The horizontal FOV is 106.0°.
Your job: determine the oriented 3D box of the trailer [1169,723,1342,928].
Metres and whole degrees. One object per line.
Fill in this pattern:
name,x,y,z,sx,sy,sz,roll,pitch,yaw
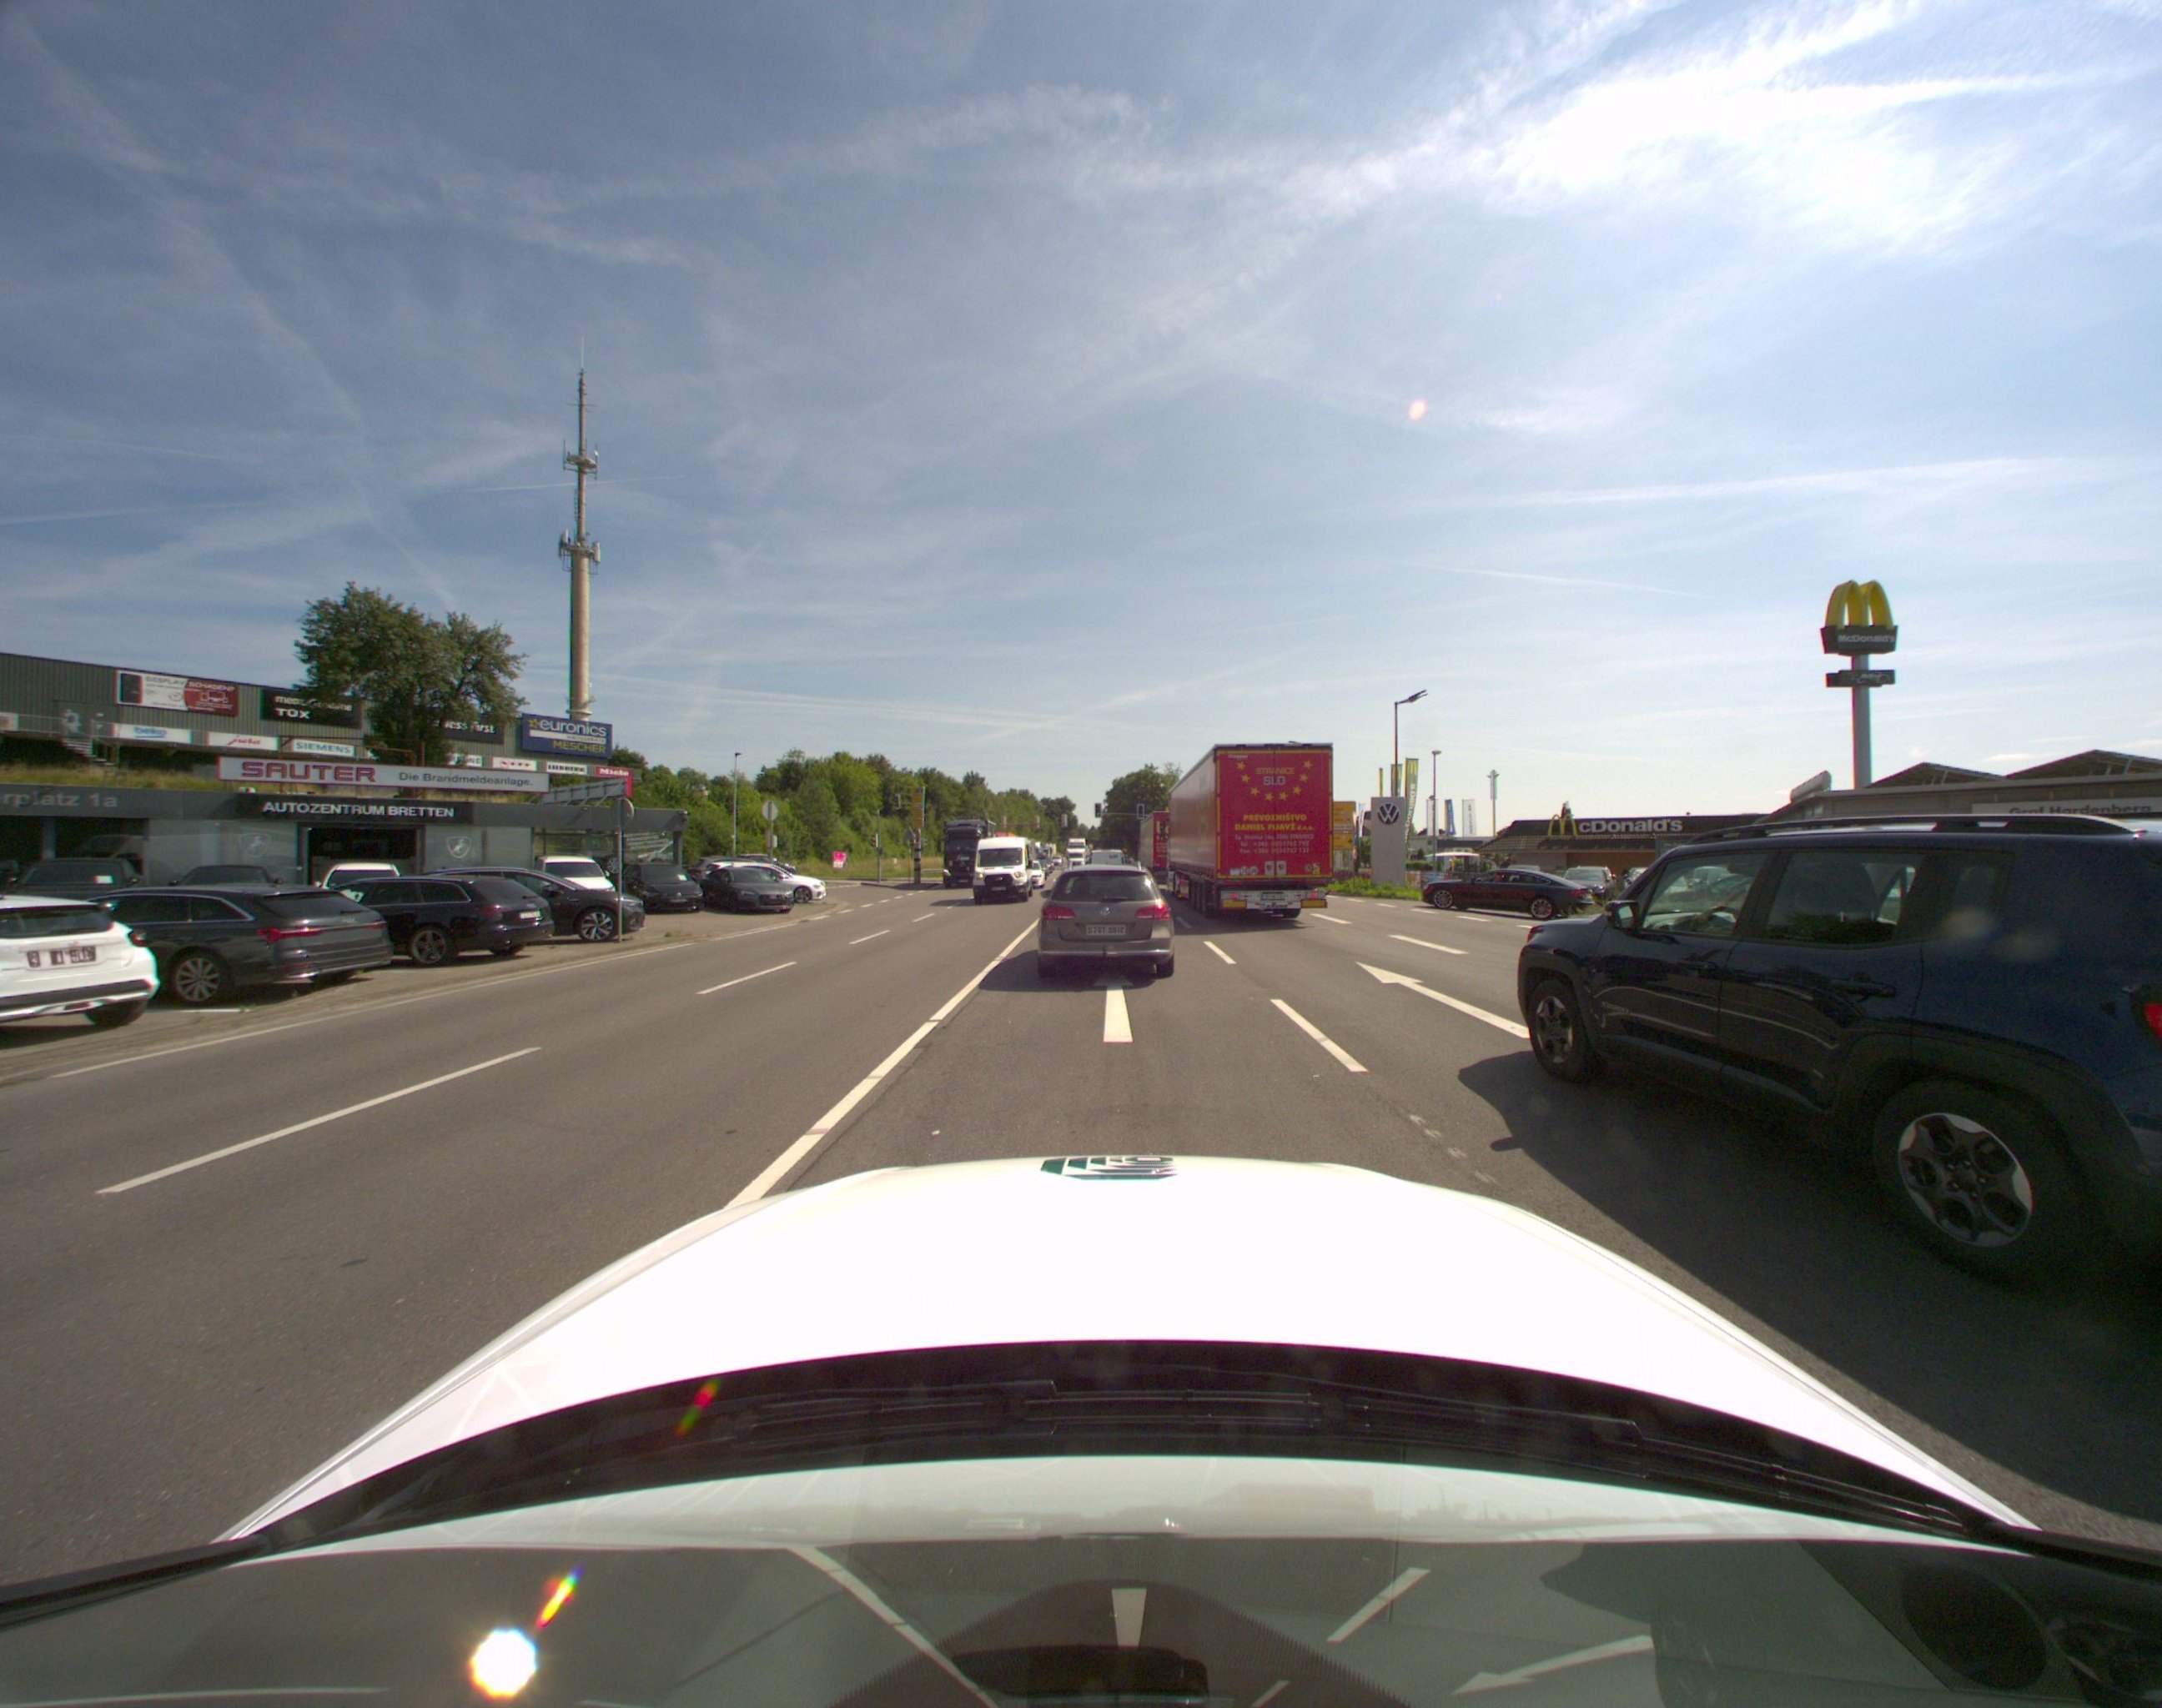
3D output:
trailer,4.467,-0.601,24.110,2.828,4.365,13.175,1,0,3

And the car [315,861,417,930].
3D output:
car,-18.639,0.993,21.245,1.837,1.524,4.094,1,0,-42

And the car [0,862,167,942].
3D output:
car,-22.581,0.988,18.602,1.820,1.524,4.049,1,0,-42

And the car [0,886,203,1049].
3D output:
car,-12.054,1.133,8.430,3.970,1.470,1.883,-1,0,3

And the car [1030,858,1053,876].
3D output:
car,-3.688,1.198,77.112,1.855,1.524,4.590,-2,0,1

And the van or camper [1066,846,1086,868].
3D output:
van or camper,-0.588,0.366,104.325,2.322,2.600,6.978,-1,0,0

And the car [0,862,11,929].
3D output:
car,-24.534,0.980,16.863,1.902,1.524,4.295,1,0,-39

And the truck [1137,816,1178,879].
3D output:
truck,5.268,-0.423,56.501,2.397,4.128,5.523,-1,0,1

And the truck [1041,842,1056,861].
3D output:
truck,-7.006,-0.470,176.670,2.721,3.999,9.616,-1,0,-1

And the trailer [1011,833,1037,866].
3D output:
trailer,-7.485,-0.573,107.502,2.635,4.105,6.183,-1,0,2

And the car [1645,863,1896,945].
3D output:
car,15.606,1.049,18.694,1.778,1.654,4.044,1,-1,-24

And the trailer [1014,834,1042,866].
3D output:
trailer,-7.319,-0.554,114.418,2.682,4.147,13.883,-1,0,1

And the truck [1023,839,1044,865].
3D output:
truck,-7.854,-0.323,134.916,3.178,4.080,6.343,-1,0,-1

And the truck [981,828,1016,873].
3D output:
truck,-7.606,-0.314,75.541,2.714,3.998,6.052,-1,0,-2

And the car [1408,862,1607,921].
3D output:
car,12.446,1.063,24.008,1.977,1.332,4.759,5,-1,-43

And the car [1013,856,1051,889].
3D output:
car,-2.558,0.953,43.319,1.648,1.555,4.000,-3,0,0

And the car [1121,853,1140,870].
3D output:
car,5.999,0.878,98.955,1.987,2.014,3.999,-1,0,-1

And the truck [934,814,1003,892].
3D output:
truck,-6.384,-0.034,47.676,2.703,3.998,9.971,-1,0,-1

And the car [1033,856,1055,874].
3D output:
car,-3.599,1.024,80.341,1.902,1.602,4.587,-2,0,-1

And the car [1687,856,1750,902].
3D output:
car,26.116,0.970,33.442,1.888,1.671,4.849,-1,0,37

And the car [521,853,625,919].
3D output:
car,-15.385,0.869,24.559,1.903,1.748,4.416,1,0,-42

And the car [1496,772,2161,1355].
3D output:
car,3.995,0.586,4.187,1.764,1.654,4.001,-1,0,2

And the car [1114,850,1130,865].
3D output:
car,5.845,0.494,116.647,1.987,2.014,3.999,-1,0,-1

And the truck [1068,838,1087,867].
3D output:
truck,-0.549,-0.209,118.028,2.530,4.088,6.262,-1,0,-1

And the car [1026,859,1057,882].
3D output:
car,-2.780,1.138,58.221,1.705,1.443,4.381,-3,0,2

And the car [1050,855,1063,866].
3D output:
car,-3.881,0.984,129.473,1.837,1.732,4.587,1,0,-1

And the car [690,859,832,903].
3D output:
car,-12.160,1.042,31.053,4.732,1.475,1.874,3,-1,-32

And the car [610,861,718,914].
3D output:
car,-13.444,1.012,26.148,4.291,1.487,1.809,1,0,44

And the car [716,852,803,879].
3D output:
car,-20.110,0.729,51.021,4.661,1.527,1.892,3,-1,-43

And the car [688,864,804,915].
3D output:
car,-11.253,1.103,27.191,1.985,1.436,4.584,1,0,-45

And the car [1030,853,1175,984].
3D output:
car,0.232,0.766,11.615,1.686,1.513,3.998,-1,0,-1

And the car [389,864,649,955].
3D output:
car,-11.484,1.059,17.053,4.192,1.623,2.013,-1,0,-26

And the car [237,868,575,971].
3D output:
car,-11.271,1.050,13.845,4.020,1.530,2.032,-1,0,1

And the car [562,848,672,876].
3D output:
car,-25.870,0.493,45.574,5.001,1.419,1.926,3,-3,-43

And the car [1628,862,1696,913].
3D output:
car,19.644,1.068,27.456,1.727,1.492,4.291,-1,0,37

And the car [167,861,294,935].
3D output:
car,-20.636,0.985,19.929,1.826,1.524,4.293,1,0,-42

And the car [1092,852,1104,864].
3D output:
car,2.877,0.670,137.376,1.987,2.014,3.999,-1,0,-1

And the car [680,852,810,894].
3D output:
car,-14.483,0.850,35.262,4.821,1.626,1.909,3,-2,-40

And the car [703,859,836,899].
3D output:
car,-12.788,1.054,33.620,4.738,1.513,1.933,3,-1,-39

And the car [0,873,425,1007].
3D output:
car,-11.865,1.087,10.985,4.352,1.530,2.029,-1,0,0

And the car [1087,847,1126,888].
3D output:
car,1.260,0.660,41.434,1.765,1.936,3.976,-1,0,-1

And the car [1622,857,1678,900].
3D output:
car,24.326,1.009,34.745,1.753,1.671,4.197,-1,0,37

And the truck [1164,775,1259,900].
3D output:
truck,4.781,-0.561,30.943,2.859,4.281,5.842,1,0,2

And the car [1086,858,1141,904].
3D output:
car,1.090,0.923,29.427,1.765,1.513,3.998,-1,0,-1

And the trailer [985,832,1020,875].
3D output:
trailer,-7.893,0.014,82.923,2.714,3.998,12.224,-1,0,-2

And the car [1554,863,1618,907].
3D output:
car,20.002,1.175,32.166,1.753,1.532,4.116,-1,0,37

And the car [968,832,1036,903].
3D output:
car,-3.007,0.497,32.536,2.053,2.510,7.111,-1,0,-1

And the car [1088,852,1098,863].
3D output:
car,2.455,0.731,165.889,1.987,2.014,3.999,-1,0,-1

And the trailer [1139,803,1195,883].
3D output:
trailer,5.069,-0.583,50.279,2.386,4.243,13.082,-1,0,2
